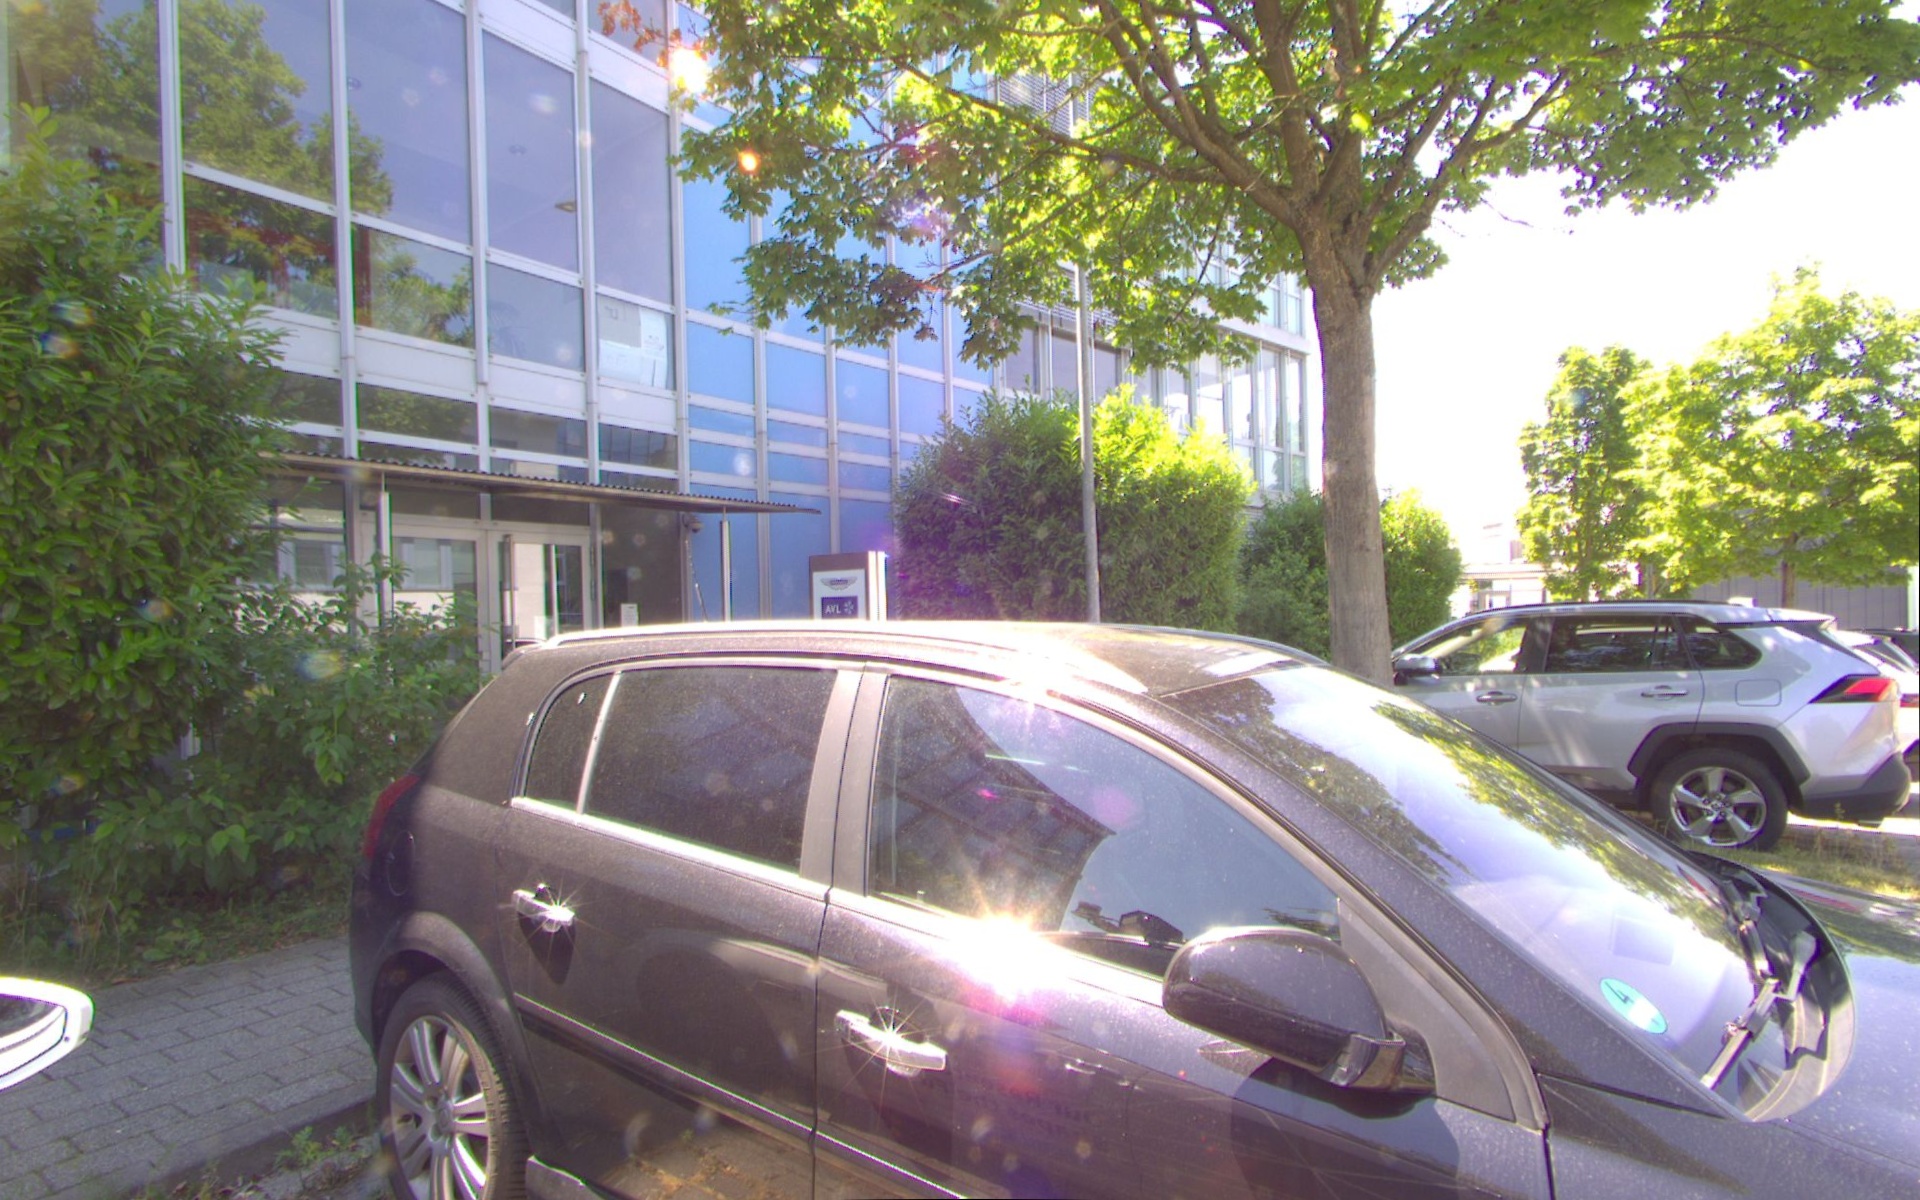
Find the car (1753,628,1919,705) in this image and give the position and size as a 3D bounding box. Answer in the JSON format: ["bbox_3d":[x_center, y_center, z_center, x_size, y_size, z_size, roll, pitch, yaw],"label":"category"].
[{"bbox_3d":[20.188,1.447,22.375,1.614,1.545,3.566,1,-1,-34],"label":"car"}]

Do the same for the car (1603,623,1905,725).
[{"bbox_3d":[14.663,1.277,18.703,1.641,1.626,4.145,1,-1,-38],"label":"car"}]

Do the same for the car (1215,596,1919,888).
[{"bbox_3d":[4.375,0.825,7.767,4.278,1.664,1.844,0,-1,39],"label":"car"}]

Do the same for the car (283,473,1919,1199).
[{"bbox_3d":[0.456,0.721,2.134,4.506,1.569,1.753,-1,-2,36],"label":"car"}]

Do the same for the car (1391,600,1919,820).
[{"bbox_3d":[6.448,0.862,9.381,4.150,1.664,1.649,0,-1,39],"label":"car"}]

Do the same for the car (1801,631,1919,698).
[{"bbox_3d":[22.257,1.509,23.494,1.614,1.462,3.566,1,-1,-34],"label":"car"}]

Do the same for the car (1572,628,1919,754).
[{"bbox_3d":[11.404,1.205,14.430,1.645,1.505,4.136,2,-1,-44],"label":"car"}]
